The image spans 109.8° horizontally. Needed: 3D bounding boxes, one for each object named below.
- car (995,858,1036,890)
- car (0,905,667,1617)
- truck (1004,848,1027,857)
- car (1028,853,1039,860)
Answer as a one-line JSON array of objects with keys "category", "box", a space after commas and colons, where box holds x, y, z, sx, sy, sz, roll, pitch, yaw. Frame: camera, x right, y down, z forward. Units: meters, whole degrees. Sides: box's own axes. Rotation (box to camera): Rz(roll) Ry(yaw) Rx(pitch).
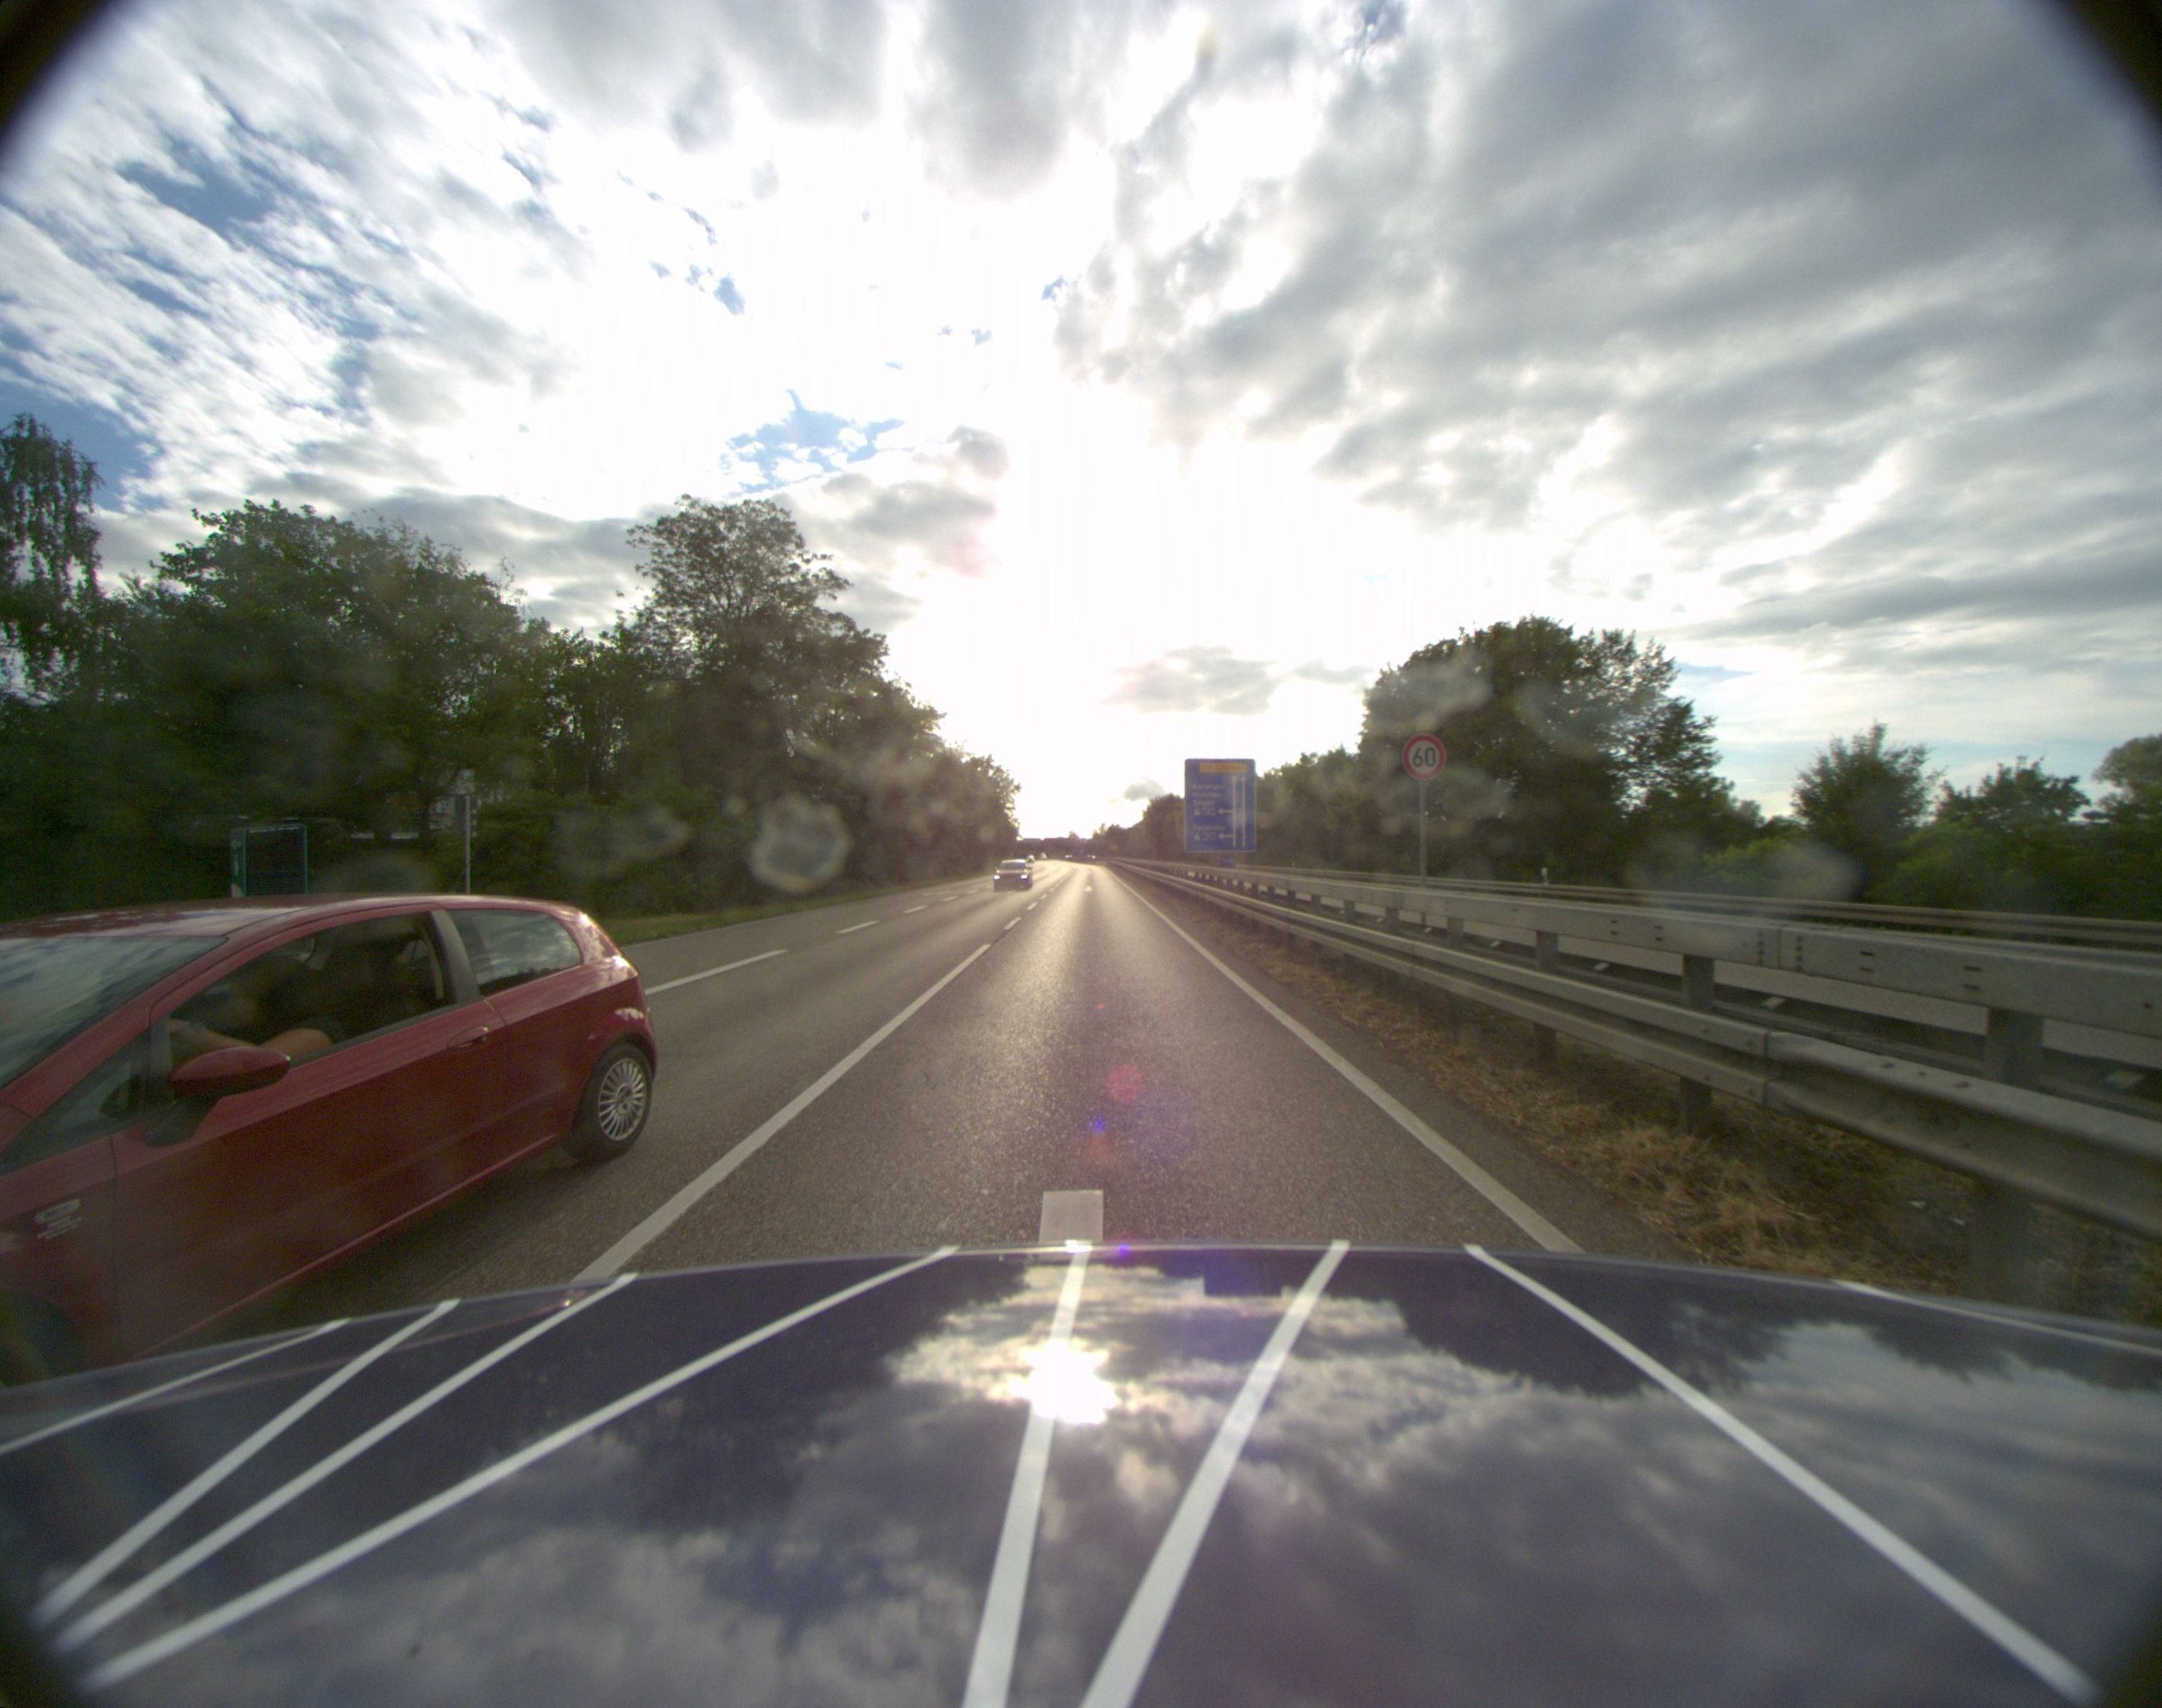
[{"category": "car", "box": [-3.247, 0.964, 38.334, 1.700, 1.407, 3.999, -2, 0, 0]}, {"category": "car", "box": [-3.304, 1.040, 2.481, 1.667, 1.424, 3.994, -2, 0, 0]}, {"category": "truck", "box": [-21.914, -0.426, 255.476, 7.158, 2.668, 2.991, -2, 1, 7]}, {"category": "car", "box": [-10.131, 0.539, 163.340, 1.998, 1.486, 4.000, 0, 0, 1]}]
